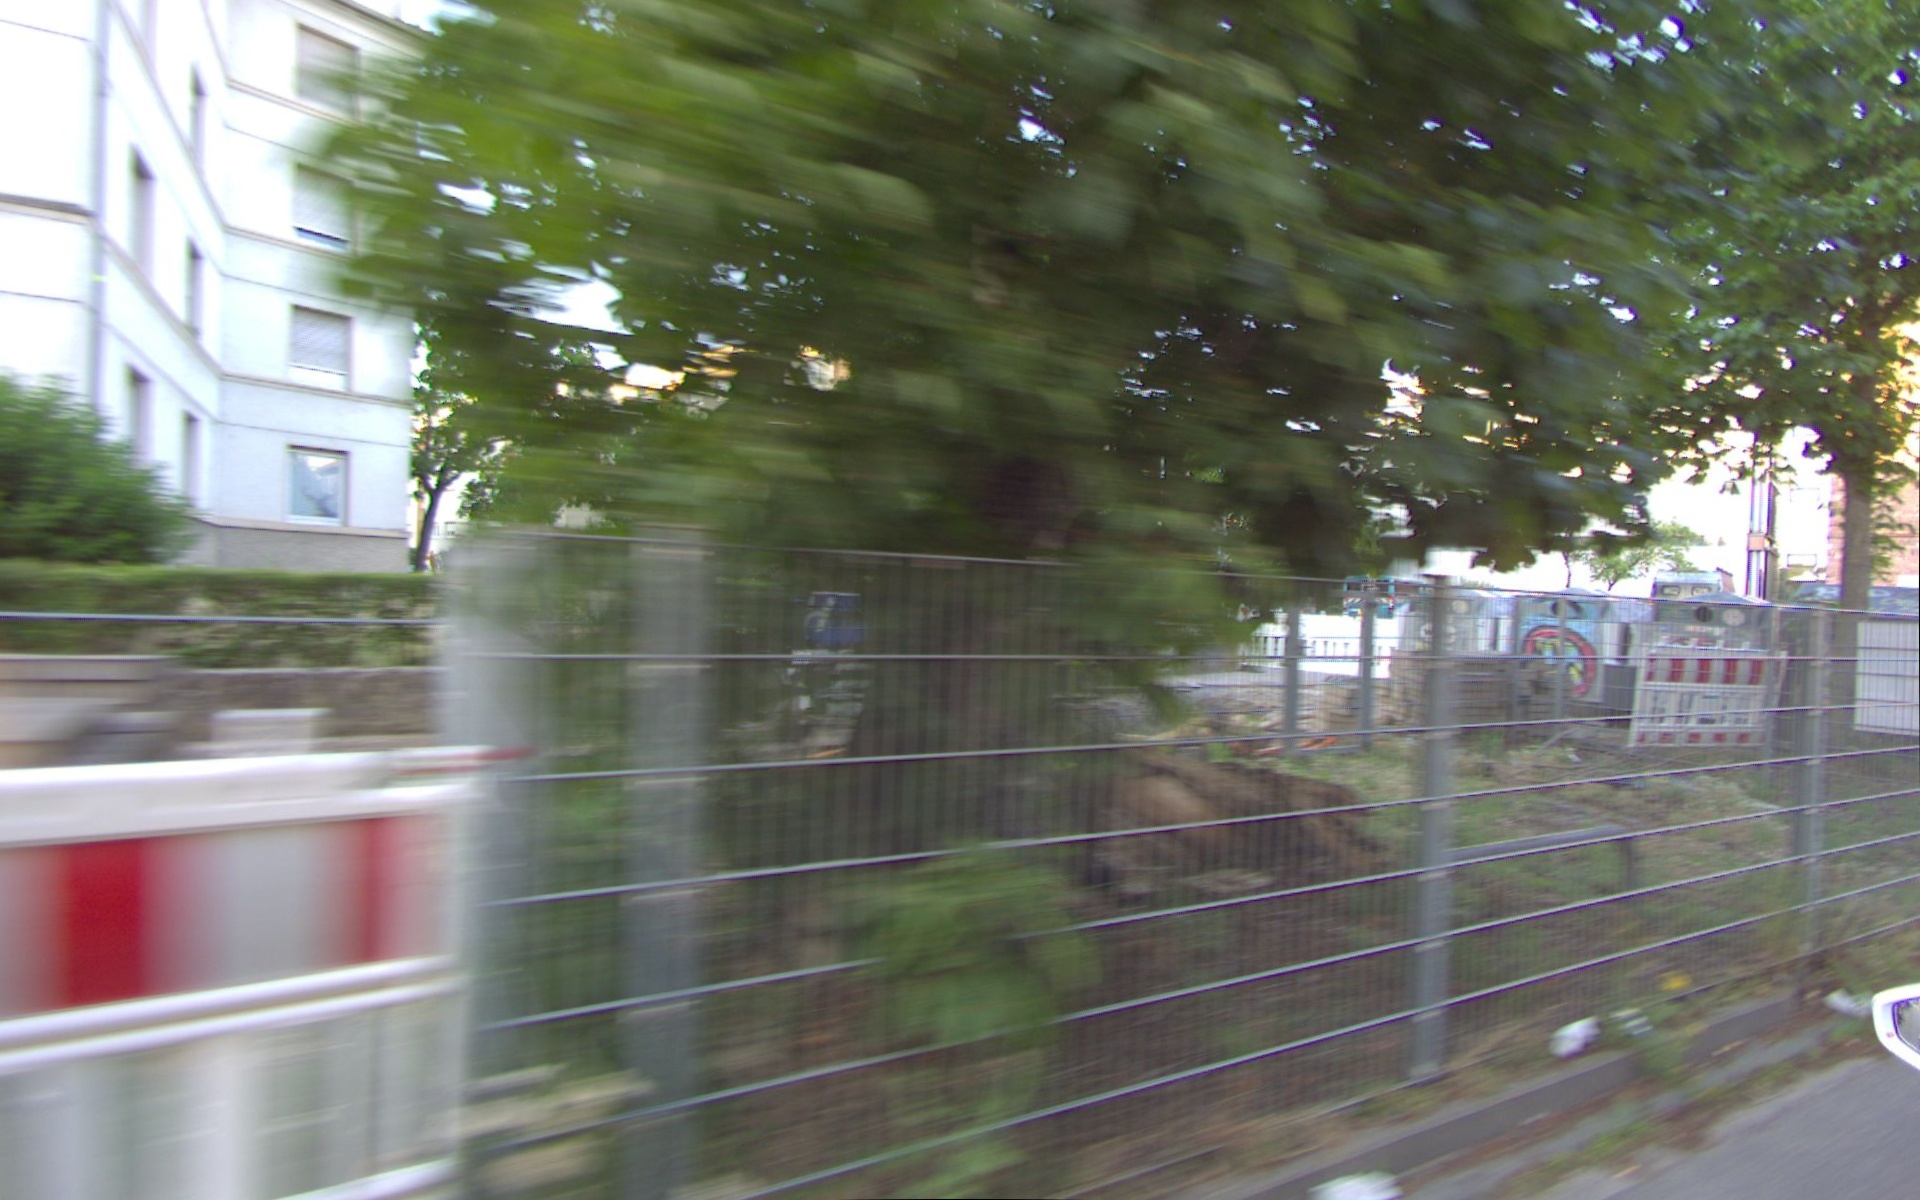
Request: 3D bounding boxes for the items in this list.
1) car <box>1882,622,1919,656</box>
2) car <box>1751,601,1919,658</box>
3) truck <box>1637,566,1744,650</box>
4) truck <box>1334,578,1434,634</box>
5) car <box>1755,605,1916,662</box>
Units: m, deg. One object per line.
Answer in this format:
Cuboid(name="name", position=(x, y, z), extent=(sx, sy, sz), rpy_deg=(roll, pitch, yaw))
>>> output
Cuboid(name="car", position=(45.718, 1.866, 48.374), extent=(1.876, 1.558, 4.155), rpy_deg=(2, 1, 43))
Cuboid(name="car", position=(28.508, 0.920, 32.393), extent=(4.536, 1.660, 1.565), rpy_deg=(2, 0, 45))
Cuboid(name="truck", position=(25.078, 0.282, 34.422), extent=(2.309, 2.652, 4.944), rpy_deg=(2, 1, 43))
Cuboid(name="truck", position=(17.138, 0.269, 40.480), extent=(4.482, 2.118, 2.084), rpy_deg=(2, 0, -44))
Cuboid(name="car", position=(26.811, 0.990, 30.822), extent=(3.594, 1.524, 1.627), rpy_deg=(2, 0, 45))
